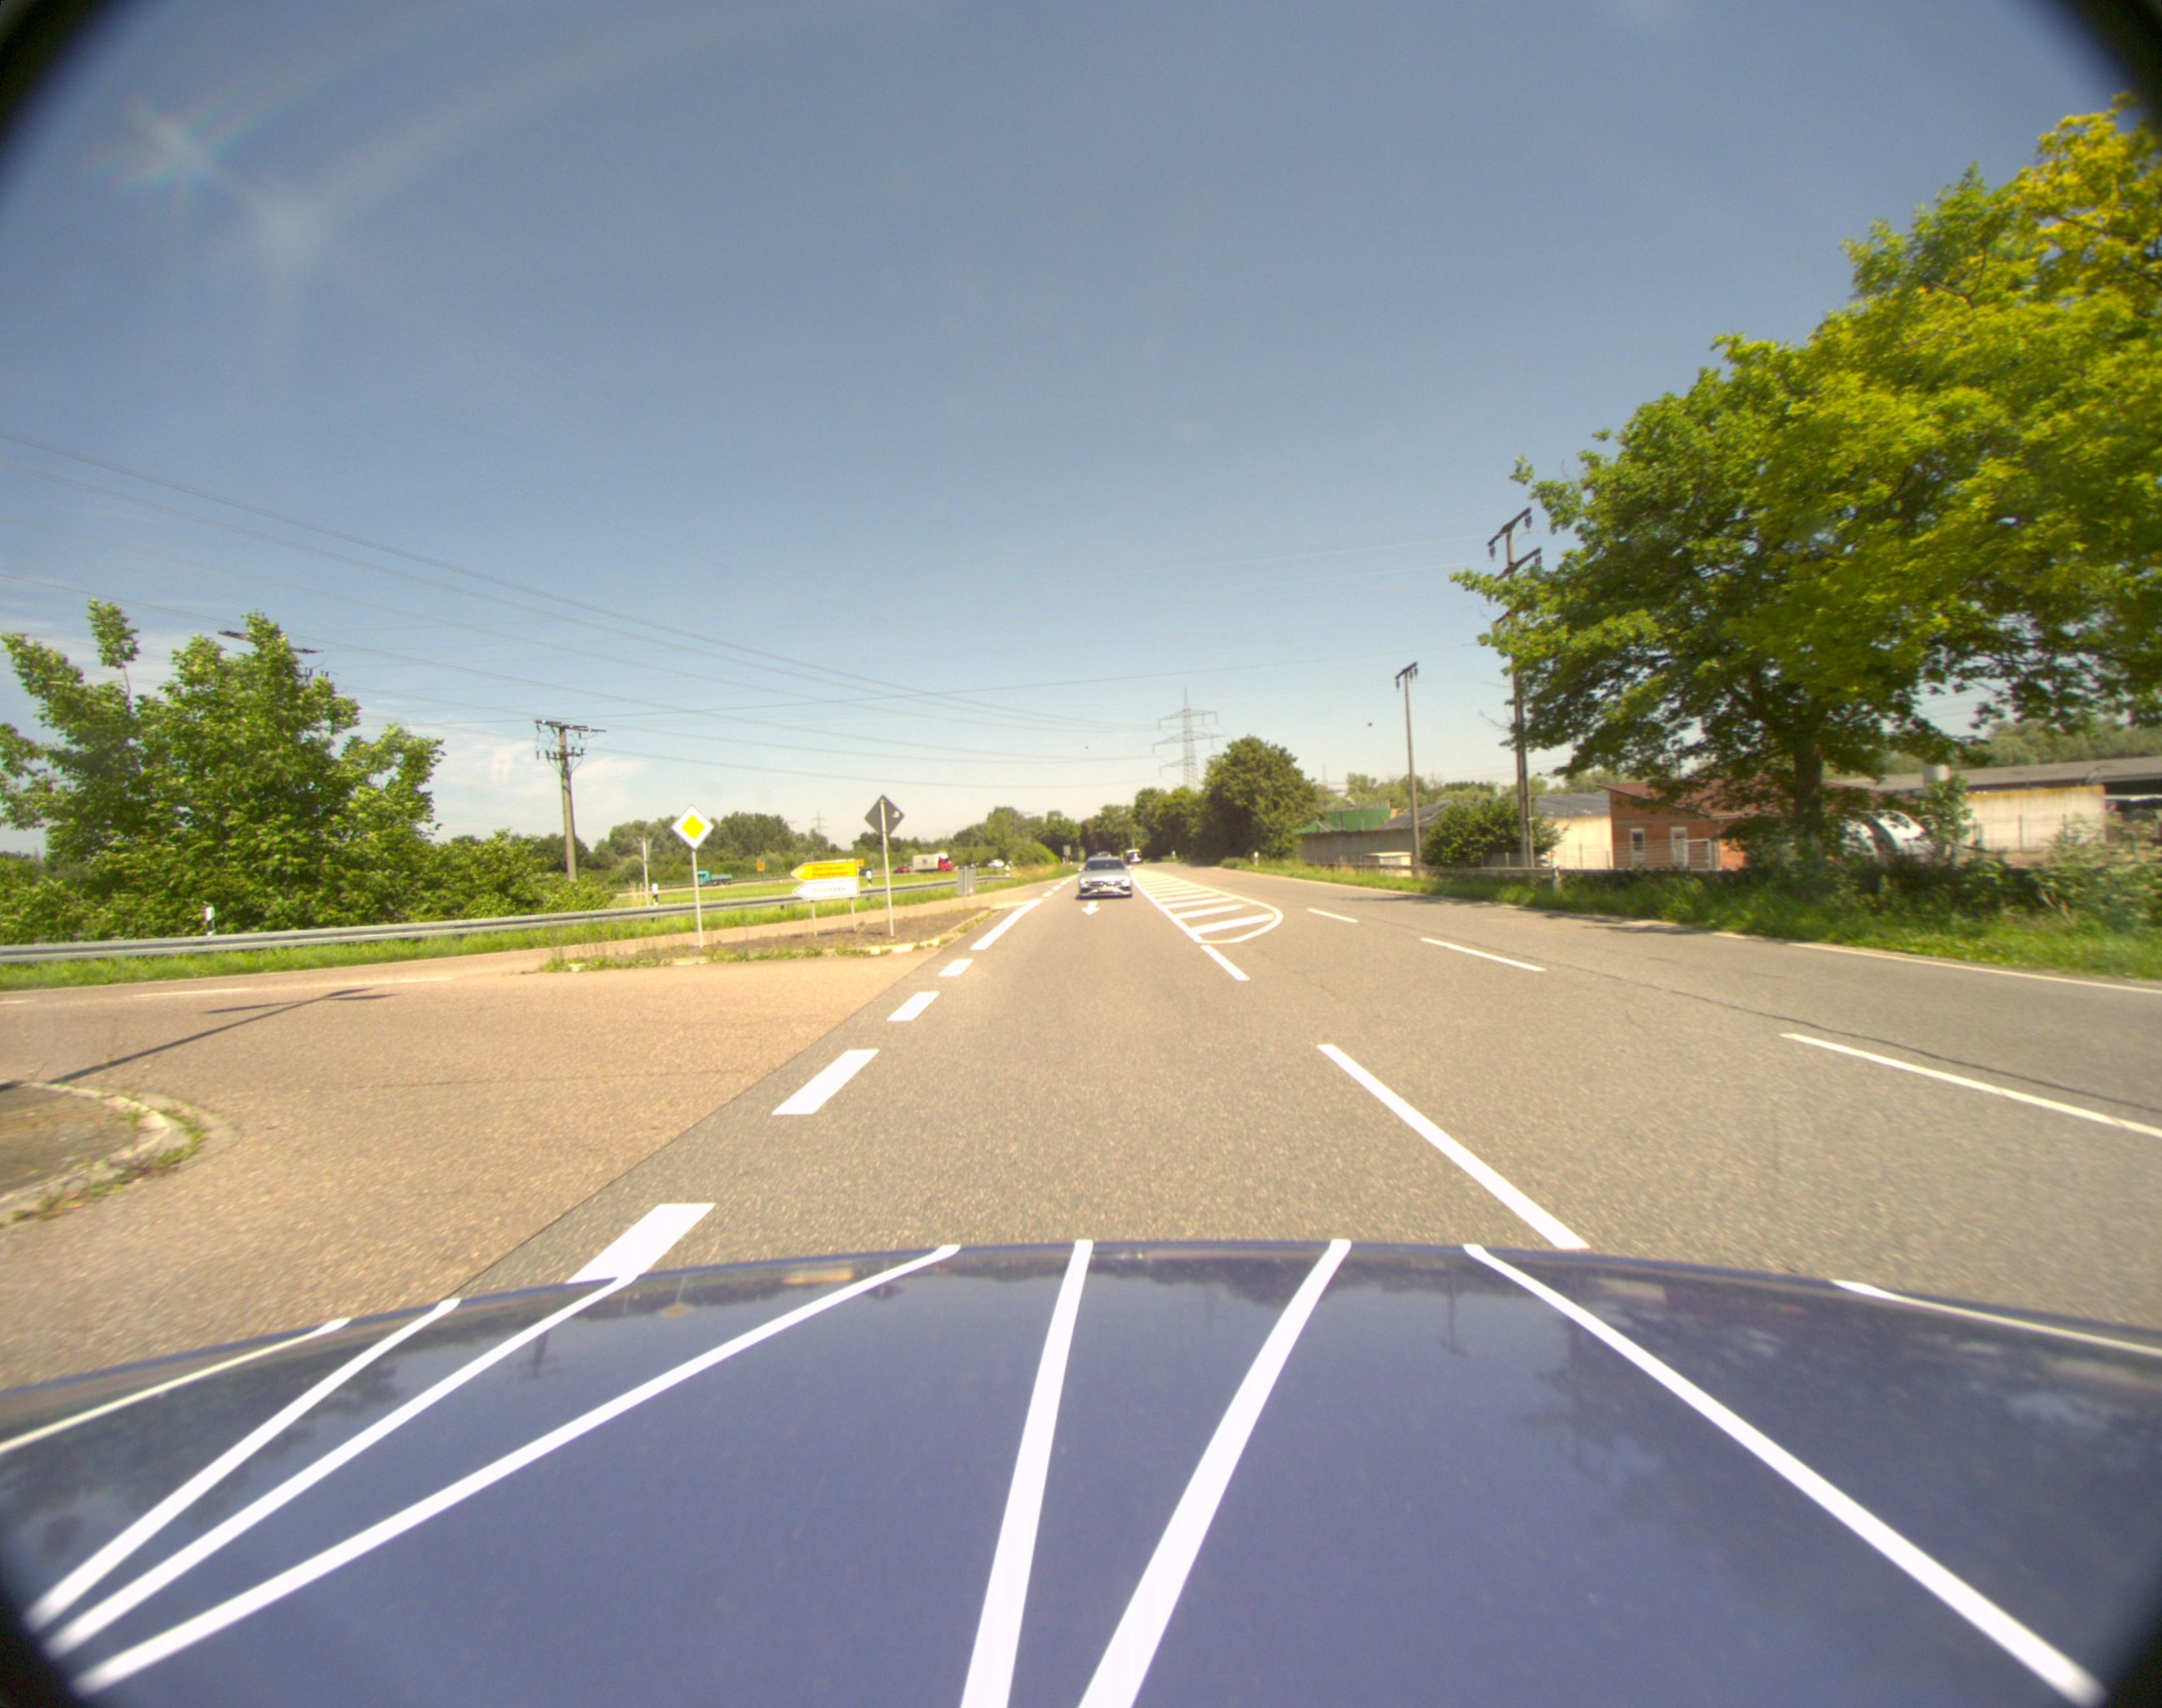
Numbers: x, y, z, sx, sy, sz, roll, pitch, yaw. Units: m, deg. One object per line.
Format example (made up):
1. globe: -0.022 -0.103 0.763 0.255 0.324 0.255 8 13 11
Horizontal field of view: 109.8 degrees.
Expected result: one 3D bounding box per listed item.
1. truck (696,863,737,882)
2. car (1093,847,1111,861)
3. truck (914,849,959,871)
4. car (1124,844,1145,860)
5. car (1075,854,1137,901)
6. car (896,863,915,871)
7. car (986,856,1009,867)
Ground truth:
1. truck: -80.677 4.040 168.263 2.604 3.451 7.622 -4 1 32
2. car: 2.762 0.003 99.578 1.746 1.580 3.998 -6 1 -5
3. truck: -28.279 1.183 148.551 9.530 3.560 2.729 -3 3 37
4. car: 5.730 -0.219 81.304 1.737 1.581 3.956 -5 1 -1
5. car: 0.975 0.781 27.143 1.823 1.478 4.151 -2 -1 6
6. car: -38.163 2.845 165.166 1.808 1.507 4.380 -5 2 -44
7. car: -15.542 1.326 141.029 1.864 1.592 4.766 -7 1 -39
